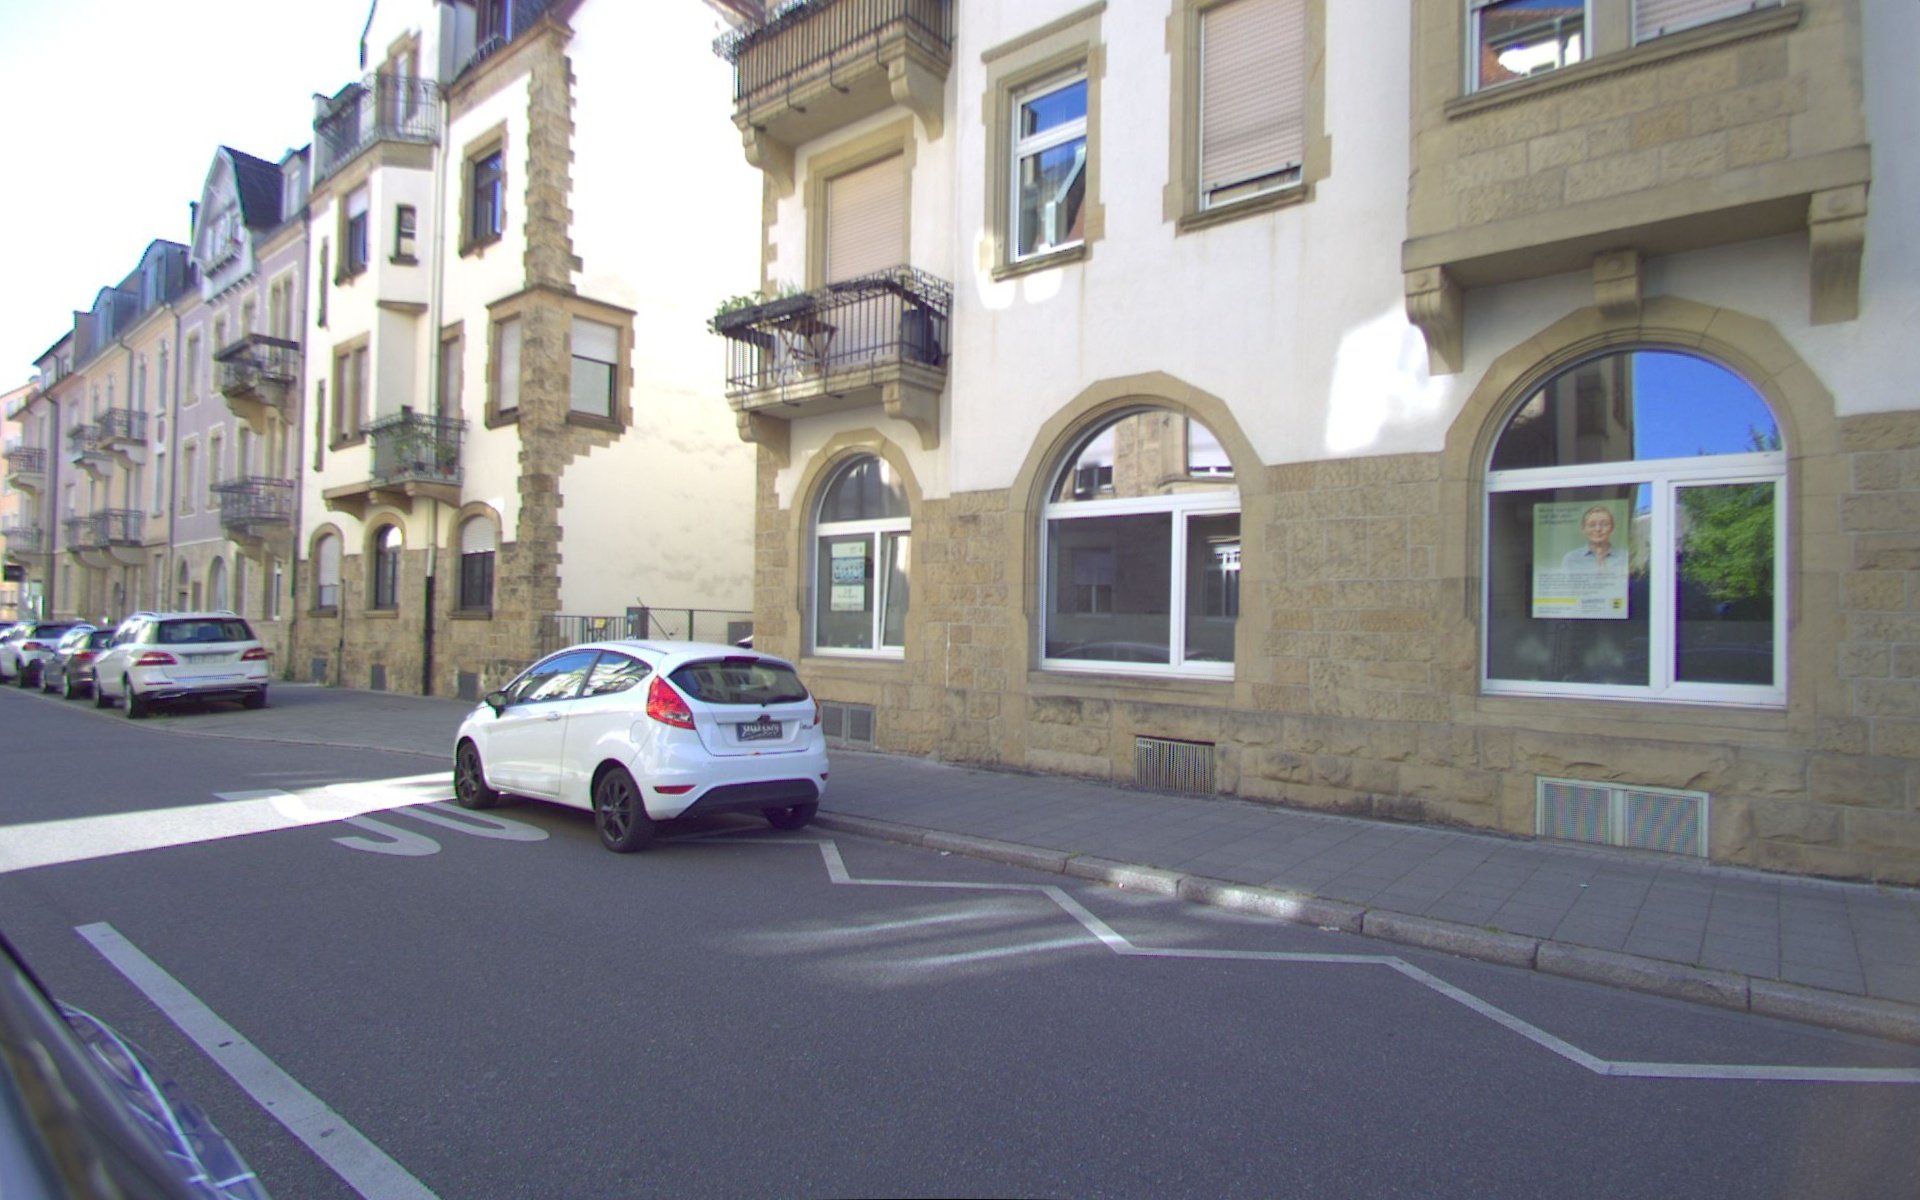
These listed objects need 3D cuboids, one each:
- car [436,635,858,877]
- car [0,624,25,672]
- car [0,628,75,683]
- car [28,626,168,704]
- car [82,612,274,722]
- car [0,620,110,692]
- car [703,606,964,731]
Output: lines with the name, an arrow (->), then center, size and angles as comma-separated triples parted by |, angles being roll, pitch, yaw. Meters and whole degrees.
car -> -2.685, 1.047, 8.242 | 3.734, 1.475, 1.616 | -1, -2, 43
car -> -33.053, 1.607, 34.119 | 3.719, 1.550, 1.698 | -1, -2, 38
car -> -26.862, 1.533, 28.857 | 3.658, 1.404, 1.658 | -1, 1, 36
car -> -18.603, 1.327, 21.781 | 4.275, 1.498, 1.558 | -1, -1, 39
car -> -14.110, 1.107, 18.154 | 4.724, 1.735, 1.872 | -1, -2, 42
car -> -22.853, 1.343, 25.269 | 4.015, 1.595, 1.698 | -1, 1, 38
car -> -1.929, 1.049, 16.320 | 1.908, 1.741, 3.928 | -2, -3, 40
